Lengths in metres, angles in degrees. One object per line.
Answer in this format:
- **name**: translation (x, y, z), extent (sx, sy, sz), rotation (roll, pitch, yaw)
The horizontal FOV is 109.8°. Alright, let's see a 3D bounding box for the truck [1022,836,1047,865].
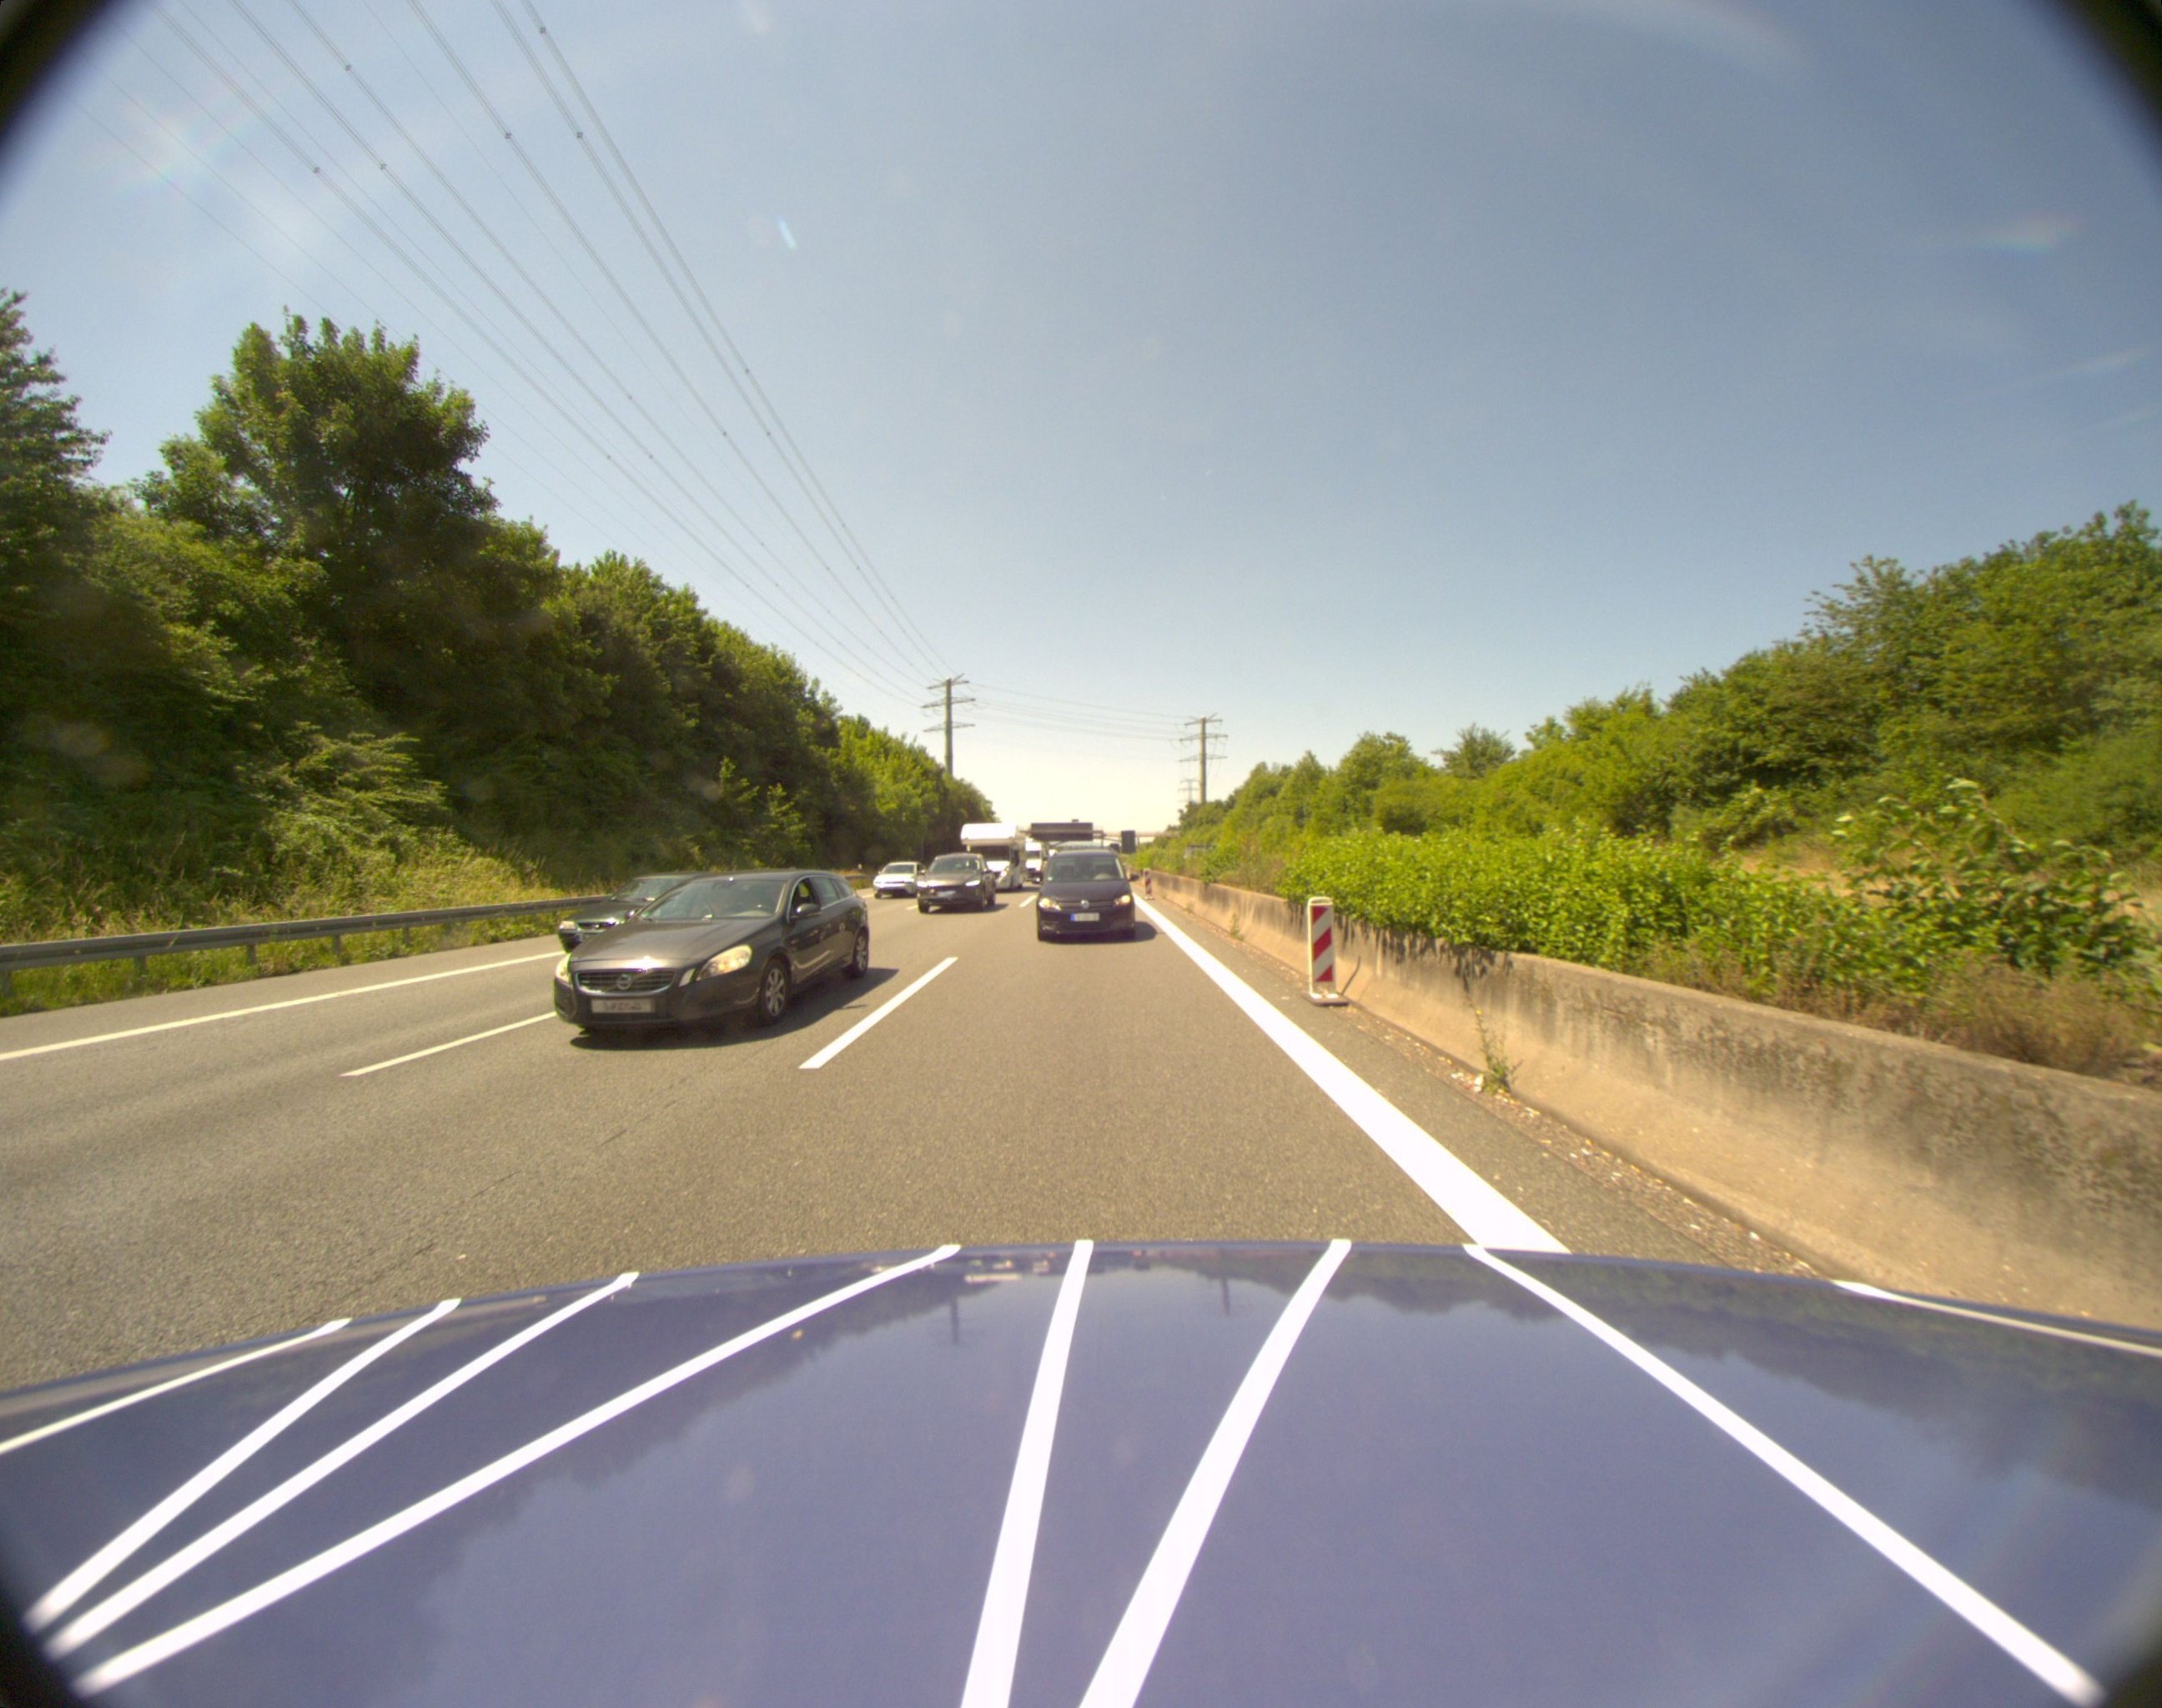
- **truck**: translation (-6.162, -0.517, 101.830), extent (2.408, 3.557, 9.192), rotation (-2, 1, 2)

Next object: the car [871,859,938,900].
- **car**: translation (-7.284, 1.011, 31.688), extent (1.745, 1.461, 4.014), rotation (-2, 0, 1)

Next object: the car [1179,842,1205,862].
- **car**: translation (16.492, -0.310, 113.651), extent (2.769, 2.856, 7.676), rotation (-2, 1, 1)

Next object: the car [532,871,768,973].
- **car**: translation (-7.548, 1.097, 13.891), extent (1.739, 1.370, 4.302), rotation (-2, 1, 1)

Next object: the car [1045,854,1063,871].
- **car**: translation (-3.013, 0.937, 85.615), extent (1.892, 1.693, 4.382), rotation (-2, 1, 0)

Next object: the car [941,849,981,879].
- **car**: translation (-8.058, 0.632, 51.418), extent (1.788, 1.893, 4.698), rotation (-2, 1, 1)

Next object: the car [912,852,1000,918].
- **car**: translation (-3.590, 0.821, 22.617), extent (1.892, 1.693, 4.382), rotation (-2, 1, 0)

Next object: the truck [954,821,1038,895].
- **truck**: translation (-3.841, 0.121, 36.809), extent (2.514, 2.997, 9.897), rotation (-2, 1, 2)

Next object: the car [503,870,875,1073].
- **car**: translation (-3.710, 0.987, 8.209), extent (1.800, 1.429, 4.230), rotation (-2, 1, 0)

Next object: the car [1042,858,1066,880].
- **car**: translation (-2.279, 1.243, 65.793), extent (1.892, 1.693, 4.382), rotation (-2, 1, 0)

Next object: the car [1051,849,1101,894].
- **car**: translation (-0.207, 0.672, 31.826), extent (1.892, 1.693, 4.382), rotation (-2, 1, 0)

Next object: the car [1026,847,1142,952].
- **car**: translation (0.037, 0.745, 14.967), extent (1.892, 1.693, 4.382), rotation (-2, 1, 0)

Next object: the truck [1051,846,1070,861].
- **truck**: translation (-3.010, -0.106, 114.794), extent (2.408, 2.203, 6.744), rotation (-2, 1, 2)

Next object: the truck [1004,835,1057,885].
- **truck**: translation (-3.272, 0.306, 51.776), extent (2.514, 2.997, 9.897), rotation (-2, 1, 2)
